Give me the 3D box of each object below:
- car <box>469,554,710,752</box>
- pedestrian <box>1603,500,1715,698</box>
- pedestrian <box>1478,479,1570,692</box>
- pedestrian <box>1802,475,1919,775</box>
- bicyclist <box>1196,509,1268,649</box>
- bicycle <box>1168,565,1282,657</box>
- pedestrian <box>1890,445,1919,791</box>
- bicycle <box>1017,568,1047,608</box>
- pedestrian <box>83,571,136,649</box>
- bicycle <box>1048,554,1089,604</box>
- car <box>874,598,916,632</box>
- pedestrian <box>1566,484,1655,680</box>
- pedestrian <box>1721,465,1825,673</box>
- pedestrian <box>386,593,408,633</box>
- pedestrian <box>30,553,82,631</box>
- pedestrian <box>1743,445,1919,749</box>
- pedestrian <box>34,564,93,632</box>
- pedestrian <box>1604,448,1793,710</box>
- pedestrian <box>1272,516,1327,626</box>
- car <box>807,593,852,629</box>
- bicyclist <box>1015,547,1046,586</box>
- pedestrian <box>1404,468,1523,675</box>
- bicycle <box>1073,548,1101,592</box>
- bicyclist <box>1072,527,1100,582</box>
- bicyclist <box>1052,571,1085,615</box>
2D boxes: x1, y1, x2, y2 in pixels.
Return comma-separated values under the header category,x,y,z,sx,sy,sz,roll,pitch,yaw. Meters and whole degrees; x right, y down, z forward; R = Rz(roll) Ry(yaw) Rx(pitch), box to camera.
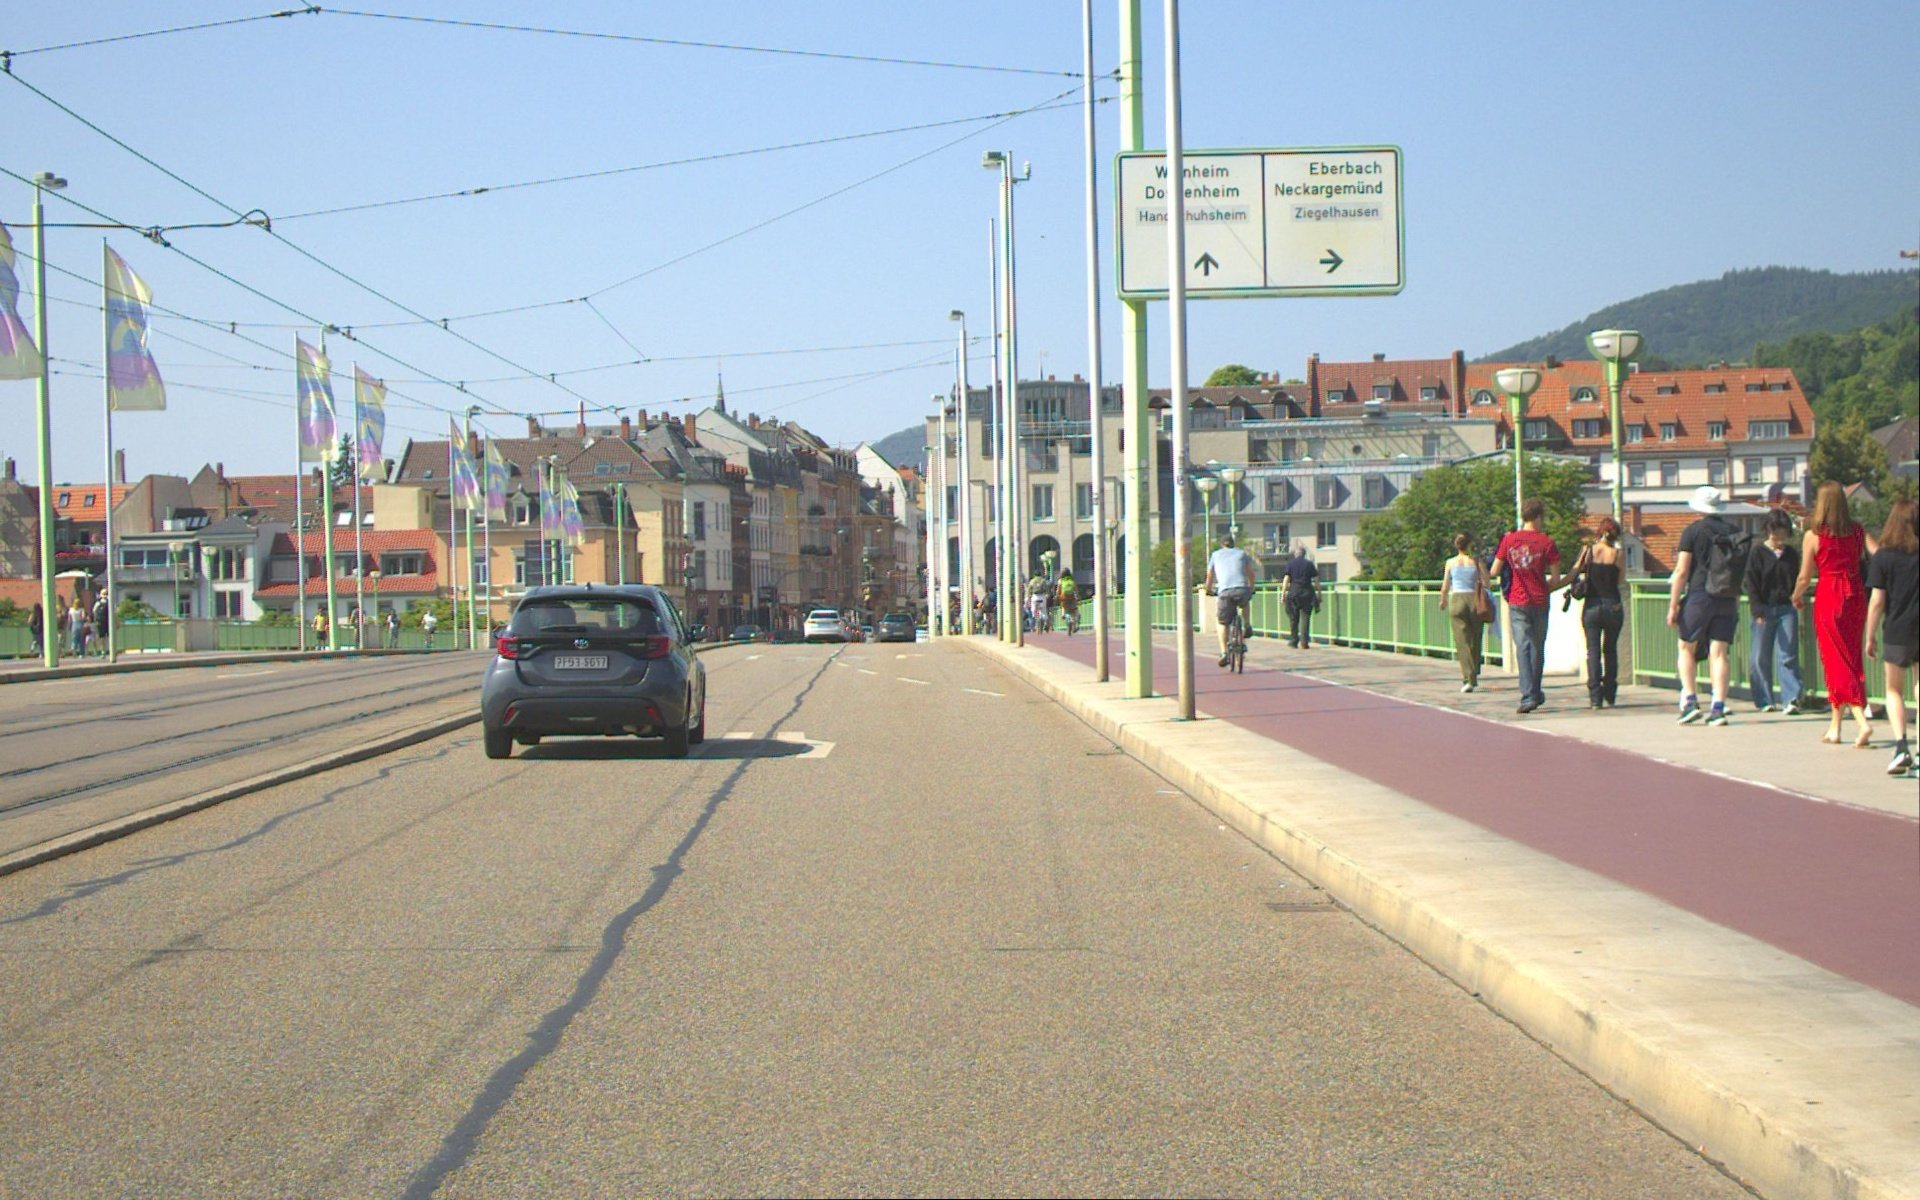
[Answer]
category,x,y,z,sx,sy,sz,roll,pitch,yaw
car,-3.216,0.413,30.521,1.910,1.535,4.001,-2,1,-4
pedestrian,5.664,-0.013,27.887,0.649,1.557,0.692,-3,1,-6
pedestrian,4.811,-0.124,29.326,0.585,1.787,0.632,-1,0,-6
pedestrian,5.248,0.131,19.417,0.654,1.644,0.868,-1,0,-7
bicyclist,3.472,-0.275,43.995,0.673,1.738,1.151,-2,1,-6
bicycle,3.381,0.119,44.295,0.792,1.092,3.745,-2,1,-6
pedestrian,5.337,0.081,17.241,0.984,1.744,0.930,-1,0,-7
bicycle,1.943,-0.329,92.714,0.618,1.034,2.051,-1,1,-3
pedestrian,-22.335,0.255,90.293,1.097,2.007,1.295,-1,1,-4
bicycle,2.676,-0.519,85.000,0.695,1.189,2.080,-2,0,-6
car,-3.074,0.717,163.970,1.804,1.464,4.000,-3,0,1
pedestrian,5.538,-0.154,29.302,0.522,1.643,0.700,-1,0,-7
pedestrian,6.452,-0.250,27.307,0.649,1.626,0.692,0,1,0
pedestrian,-25.146,0.581,153.638,0.830,1.716,1.094,-1,1,-3
pedestrian,-23.922,-0.221,90.980,1.097,2.007,1.129,-1,1,-4
pedestrian,5.834,-0.025,22.739,1.015,1.947,0.939,-1,0,-3
pedestrian,-23.480,-0.060,90.064,1.097,1.723,1.295,-2,0,2
pedestrian,5.527,-0.160,25.795,0.984,1.888,1.254,-1,0,-7
pedestrian,5.536,-0.482,56.087,0.654,1.737,0.979,-1,2,-7
car,-5.844,0.485,153.267,1.803,1.464,4.001,-3,0,-4
bicyclist,1.895,-0.899,92.620,0.735,1.027,1.175,-1,0,-3
pedestrian,5.001,-0.285,34.214,0.873,2.007,1.059,-1,0,-7
bicycle,3.792,-0.894,102.624,0.618,1.266,2.216,-1,1,-3
bicyclist,3.761,-1.364,102.735,0.735,1.630,0.867,-1,0,-3
bicyclist,2.691,-0.169,85.040,0.666,1.041,0.980,-3,0,-5
